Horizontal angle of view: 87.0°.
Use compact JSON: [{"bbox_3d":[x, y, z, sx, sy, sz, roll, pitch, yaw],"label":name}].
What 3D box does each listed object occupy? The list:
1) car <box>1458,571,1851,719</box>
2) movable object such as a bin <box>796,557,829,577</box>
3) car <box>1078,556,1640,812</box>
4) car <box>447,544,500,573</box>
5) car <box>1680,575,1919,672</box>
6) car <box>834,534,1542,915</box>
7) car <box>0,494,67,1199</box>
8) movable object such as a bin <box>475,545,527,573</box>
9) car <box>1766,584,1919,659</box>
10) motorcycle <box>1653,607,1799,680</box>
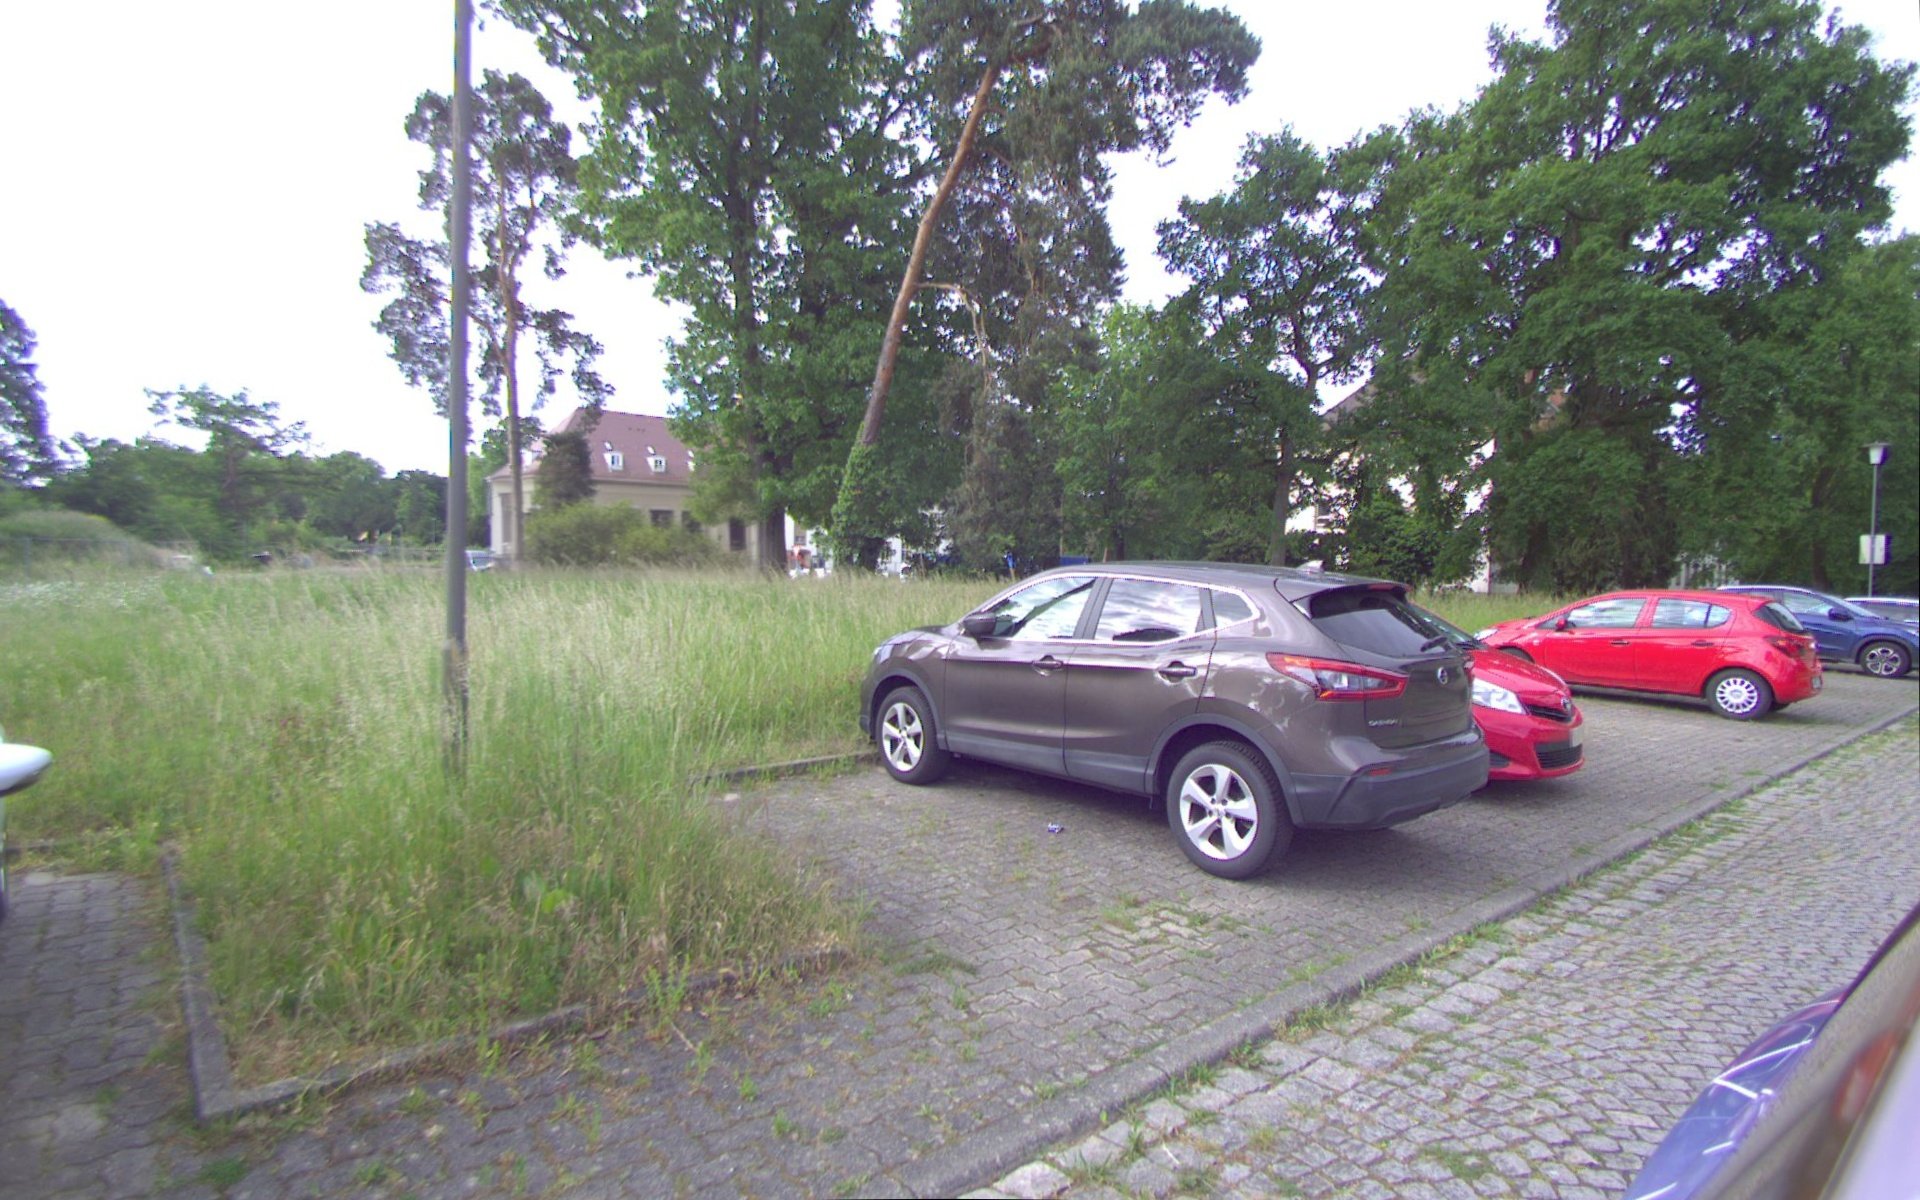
[{"bbox_3d":[8.835,0.456,13.149,1.555,1.477,3.893,0,4,-40],"label":"car"},{"bbox_3d":[-15.227,-3.397,104.573,2.931,2.038,1.553,0,2,-39],"label":"movable object such as a bin"},{"bbox_3d":[3.061,0.464,8.497,1.734,1.503,4.017,0,3,-39],"label":"car"},{"bbox_3d":[-42.375,-3.625,88.044,5.851,2.268,2.281,5,4,44],"label":"car"},{"bbox_3d":[16.615,0.397,19.527,1.555,1.556,4.149,0,4,-40],"label":"car"},{"bbox_3d":[1.124,0.440,6.634,1.790,1.618,4.270,0,4,-40],"label":"car"},{"bbox_3d":[-3.314,0.508,2.330,1.809,1.489,3.873,0,6,-40],"label":"car"},{"bbox_3d":[-34.715,-3.066,76.610,1.674,2.038,3.195,2,2,41],"label":"movable object such as a bin"},{"bbox_3d":[20.328,0.473,22.212,1.555,1.443,3.877,0,4,-40],"label":"car"},{"bbox_3d":[12.101,0.660,16.028,1.742,0.968,0.604,5,4,45],"label":"motorcycle"}]
